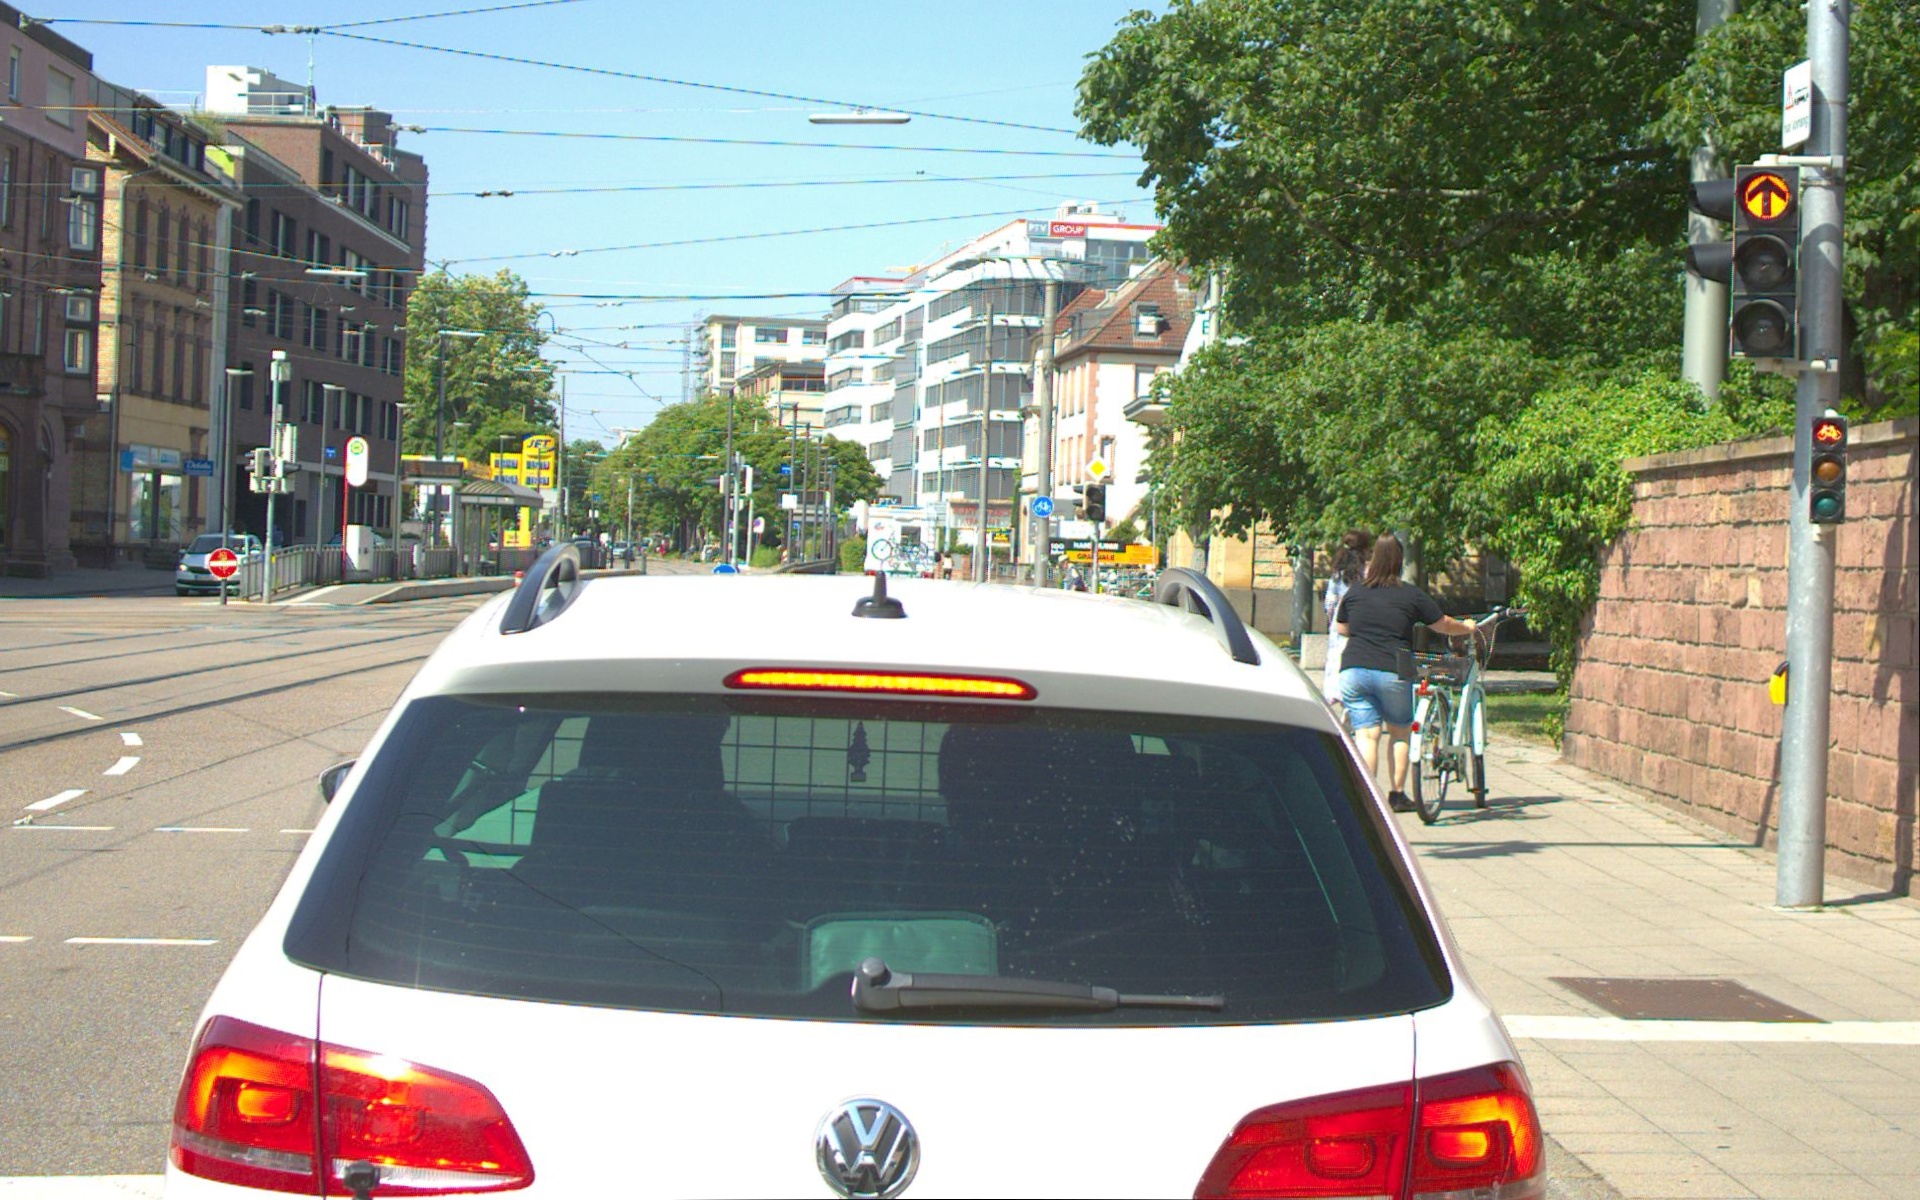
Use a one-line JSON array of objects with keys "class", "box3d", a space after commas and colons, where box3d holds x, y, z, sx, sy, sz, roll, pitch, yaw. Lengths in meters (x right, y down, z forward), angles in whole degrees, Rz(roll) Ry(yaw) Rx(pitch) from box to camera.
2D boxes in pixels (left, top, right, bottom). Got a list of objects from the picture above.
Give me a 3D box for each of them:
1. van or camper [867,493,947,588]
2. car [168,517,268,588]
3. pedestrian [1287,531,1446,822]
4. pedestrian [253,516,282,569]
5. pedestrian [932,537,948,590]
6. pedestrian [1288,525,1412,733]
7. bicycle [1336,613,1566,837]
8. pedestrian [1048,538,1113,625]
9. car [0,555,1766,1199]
[{"class": "van or camper", "box3d": [-1.753, -1.956, 115.748, 2.567, 3.082, 5.703, 0, 0, 0]}, {"class": "car", "box3d": [-17.504, -1.093, 81.257, 1.740, 1.612, 4.000, 0, 0, -4]}, {"class": "pedestrian", "box3d": [2.269, 0.406, 19.152, 0.674, 1.566, 0.747, 1, 2, 23]}, {"class": "pedestrian", "box3d": [-22.977, -1.911, 114.093, 0.861, 1.737, 0.975, 0, 0, -6]}, {"class": "pedestrian", "box3d": [-0.891, -1.611, 152.085, 0.690, 2.317, 1.232, 0, 0, 1]}, {"class": "pedestrian", "box3d": [3.146, 0.228, 27.805, 0.953, 1.645, 0.975, 0, 0, 4]}, {"class": "bicycle", "box3d": [2.742, 0.656, 19.020, 0.709, 1.086, 2.024, 1, 2, 25]}, {"class": "pedestrian", "box3d": [2.422, -0.374, 69.025, 0.973, 1.737, 0.863, 0, 0, 34]}, {"class": "car", "box3d": [-0.143, 0.682, 5.447, 1.808, 1.443, 4.000, 1, 1, -1]}]
